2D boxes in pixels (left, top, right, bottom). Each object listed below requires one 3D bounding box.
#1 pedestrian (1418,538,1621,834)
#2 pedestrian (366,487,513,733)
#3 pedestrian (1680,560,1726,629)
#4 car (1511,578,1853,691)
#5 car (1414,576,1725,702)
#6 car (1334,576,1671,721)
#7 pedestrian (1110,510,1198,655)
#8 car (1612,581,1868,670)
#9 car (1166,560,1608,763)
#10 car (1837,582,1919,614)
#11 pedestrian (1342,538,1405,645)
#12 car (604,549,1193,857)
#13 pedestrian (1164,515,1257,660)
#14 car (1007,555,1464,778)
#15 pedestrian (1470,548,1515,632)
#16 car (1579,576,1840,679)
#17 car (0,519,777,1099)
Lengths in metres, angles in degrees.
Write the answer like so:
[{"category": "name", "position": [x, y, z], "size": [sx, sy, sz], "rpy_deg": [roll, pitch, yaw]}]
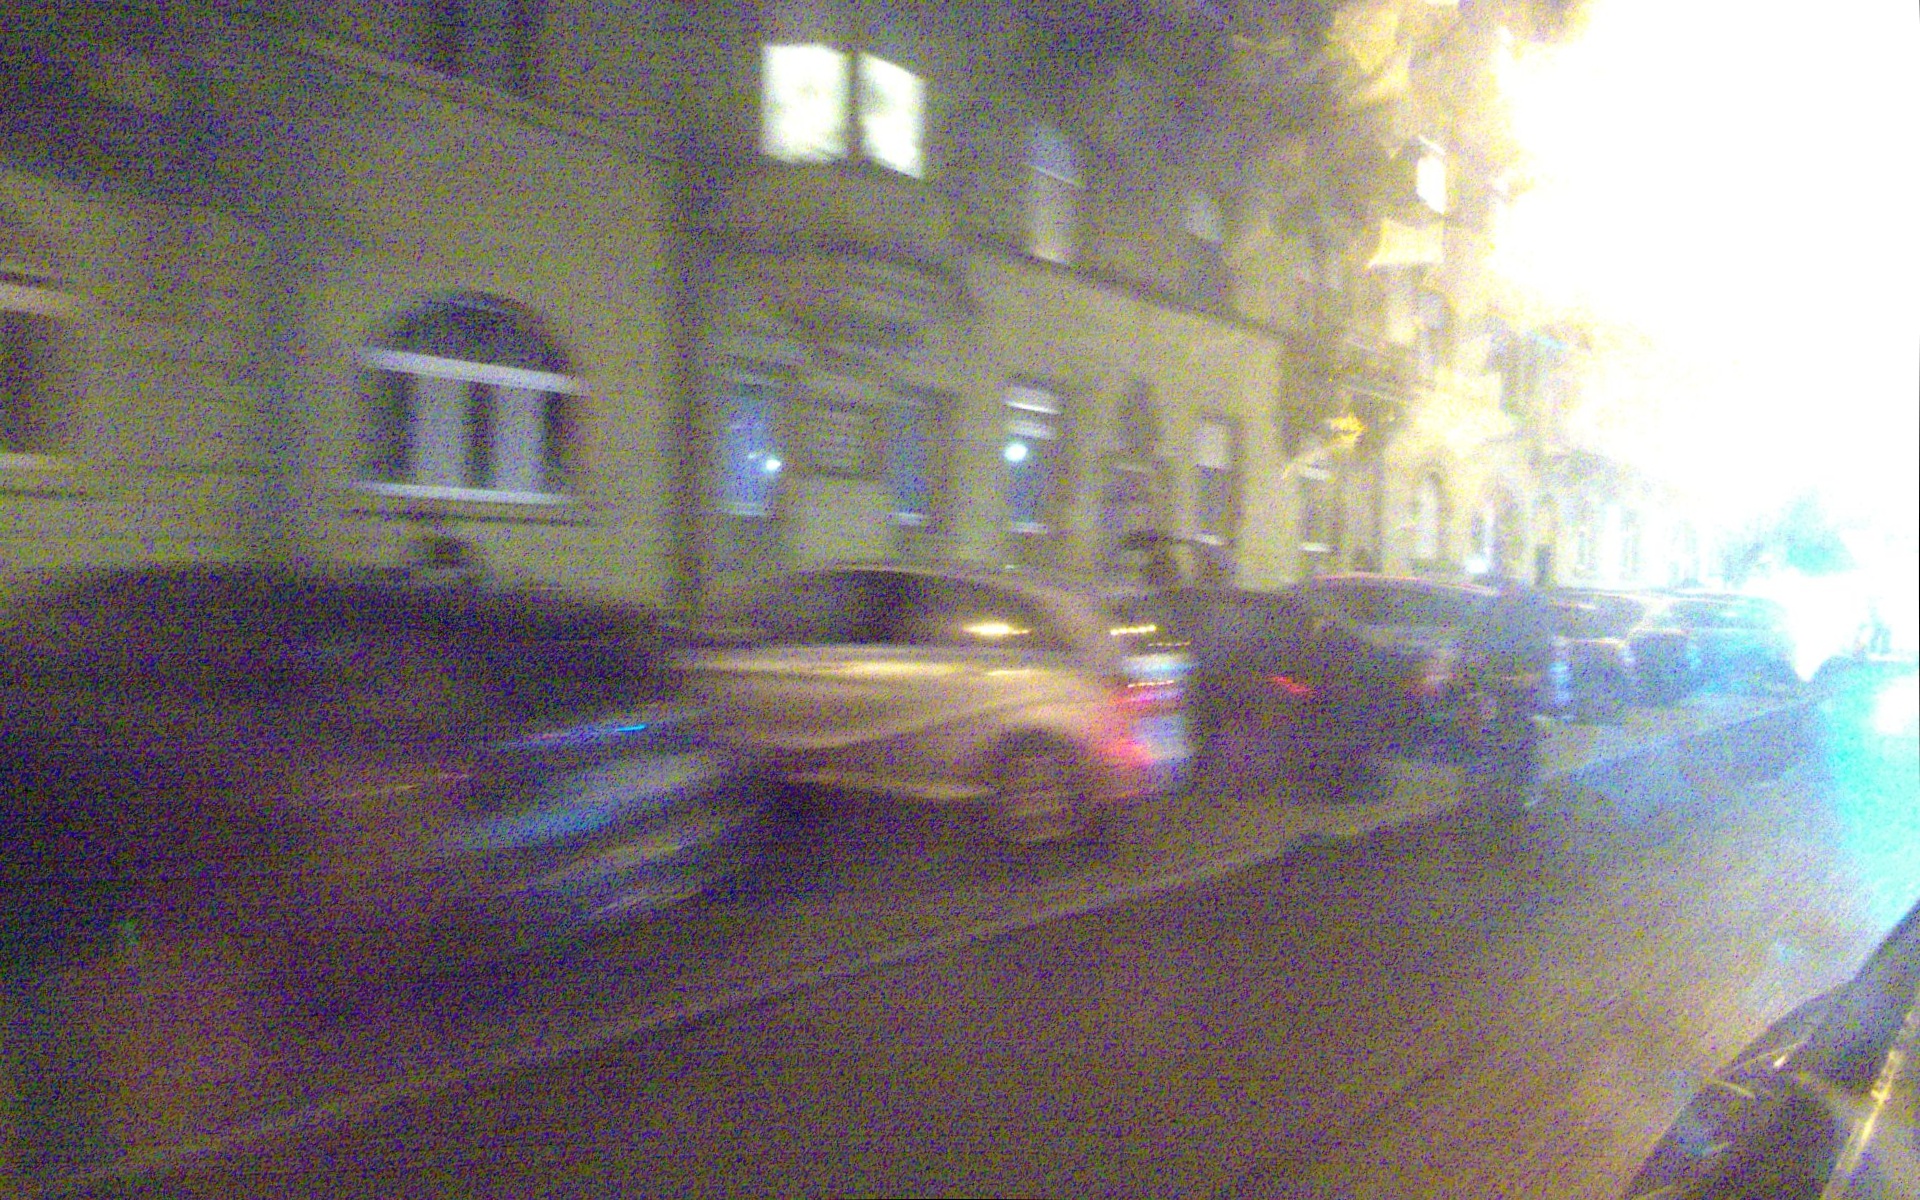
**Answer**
[{"category": "pedestrian", "position": [3.772, 0.511, 6.812], "size": [1.157, 1.792, 0.824], "rpy_deg": [0, 1, -40]}, {"category": "pedestrian", "position": [-4.227, 0.072, 8.217], "size": [0.828, 1.864, 0.747], "rpy_deg": [3, 0, -41]}, {"category": "pedestrian", "position": [21.328, -0.156, 29.043], "size": [0.868, 1.930, 0.806], "rpy_deg": [3, 0, -41]}, {"category": "car", "position": [11.313, 0.482, 16.157], "size": [4.053, 1.510, 1.589], "rpy_deg": [2, 2, 13]}, {"category": "car", "position": [8.475, 0.479, 14.396], "size": [3.435, 1.580, 1.628], "rpy_deg": [1, 1, 17]}, {"category": "car", "position": [6.565, 0.517, 12.626], "size": [3.347, 1.580, 1.632], "rpy_deg": [1, 1, 14]}, {"category": "pedestrian", "position": [2.682, -0.242, 14.011], "size": [0.828, 1.928, 0.747], "rpy_deg": [3, 0, -41]}, {"category": "car", "position": [15.188, 0.451, 19.914], "size": [3.545, 1.580, 1.706], "rpy_deg": [1, 1, 12]}, {"category": "car", "position": [4.125, 0.488, 10.272], "size": [3.756, 1.710, 1.824], "rpy_deg": [2, 1, 21]}, {"category": "car", "position": [44.801, -0.123, 48.720], "size": [1.595, 1.443, 4.204], "rpy_deg": [1, 1, 3]}, {"category": "pedestrian", "position": [7.262, -0.145, 17.772], "size": [0.770, 1.812, 0.657], "rpy_deg": [3, 0, -41]}, {"category": "car", "position": [-0.305, 0.498, 6.501], "size": [3.461, 1.580, 1.587], "rpy_deg": [1, 1, 15]}, {"category": "pedestrian", "position": [3.349, -0.163, 13.540], "size": [0.855, 1.864, 0.747], "rpy_deg": [3, 0, -41]}, {"category": "car", "position": [2.185, 0.450, 8.515], "size": [3.346, 1.580, 1.588], "rpy_deg": [1, 1, 14]}, {"category": "pedestrian", "position": [11.078, -0.206, 21.053], "size": [0.590, 1.685, 0.575], "rpy_deg": [3, 0, -41]}, {"category": "car", "position": [13.365, 0.436, 18.260], "size": [3.347, 1.612, 1.588], "rpy_deg": [2, 2, 14]}, {"category": "car", "position": [-2.964, 0.506, 4.316], "size": [4.005, 1.580, 1.738], "rpy_deg": [1, 1, 22]}]
